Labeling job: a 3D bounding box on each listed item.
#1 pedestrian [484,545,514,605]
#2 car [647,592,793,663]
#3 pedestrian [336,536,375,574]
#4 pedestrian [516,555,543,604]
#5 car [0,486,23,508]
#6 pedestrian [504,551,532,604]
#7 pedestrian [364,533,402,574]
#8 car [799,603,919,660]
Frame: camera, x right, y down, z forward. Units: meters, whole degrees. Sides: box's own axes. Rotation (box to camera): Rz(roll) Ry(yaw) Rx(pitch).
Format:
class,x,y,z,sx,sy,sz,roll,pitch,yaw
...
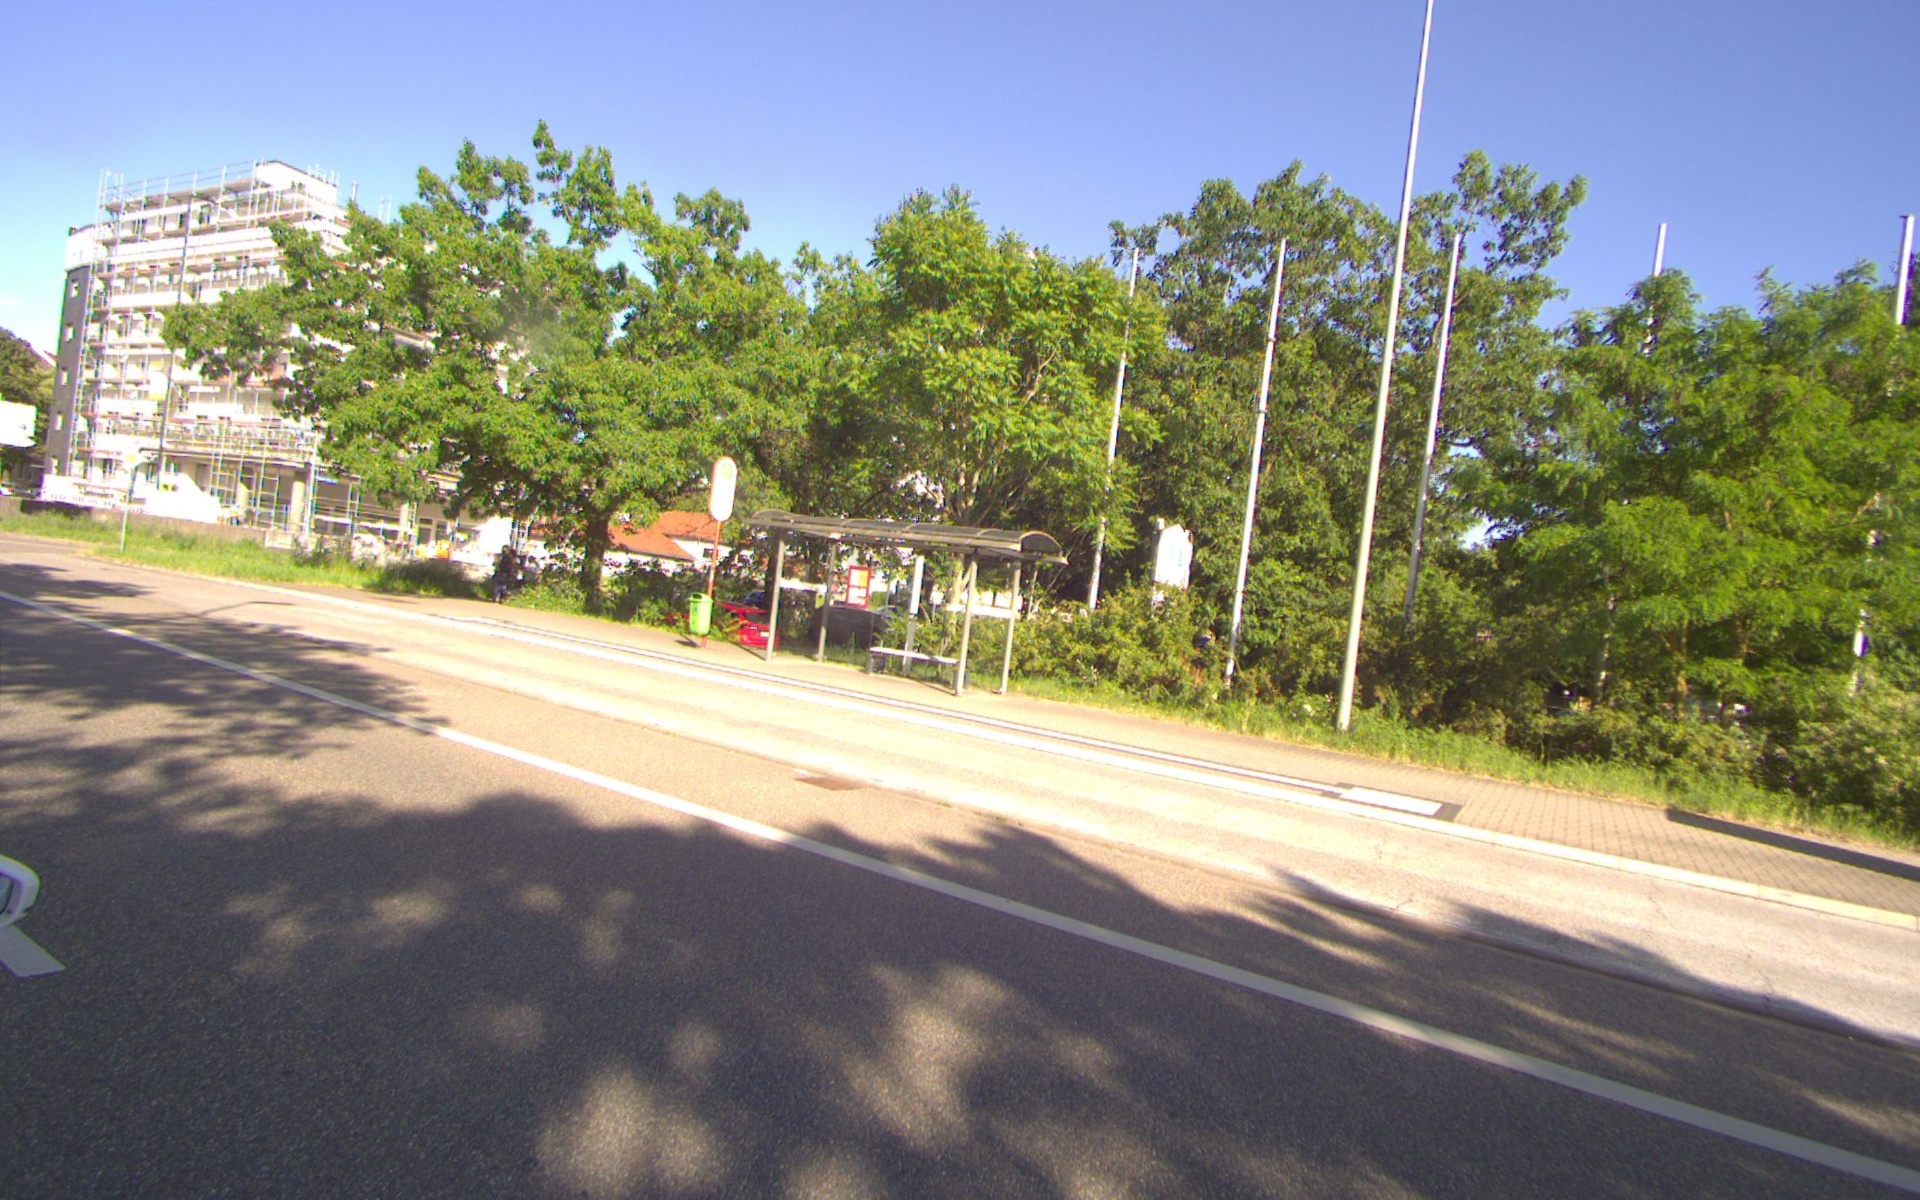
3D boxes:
class,x,y,z,sx,sy,sz,roll,pitch,yaw
pedestrian,-13.013,-0.703,28.386,0.517,1.632,0.587,7,1,-32
car,-6.874,0.792,28.747,3.680,1.504,1.755,7,0,28
pedestrian,-26.370,-1.967,43.894,0.948,1.465,0.895,7,0,17
pedestrian,-13.422,-0.637,31.362,0.517,1.465,0.587,7,1,-32
car,-66.613,-7.216,70.159,1.521,1.330,3.250,7,0,-40
pedestrian,-12.761,-0.651,29.061,0.517,1.465,0.587,7,1,-32
pedestrian,-25.745,-2.074,44.873,0.969,1.674,0.892,7,0,10
car,-3.581,1.131,35.980,3.674,1.504,1.914,7,0,13
